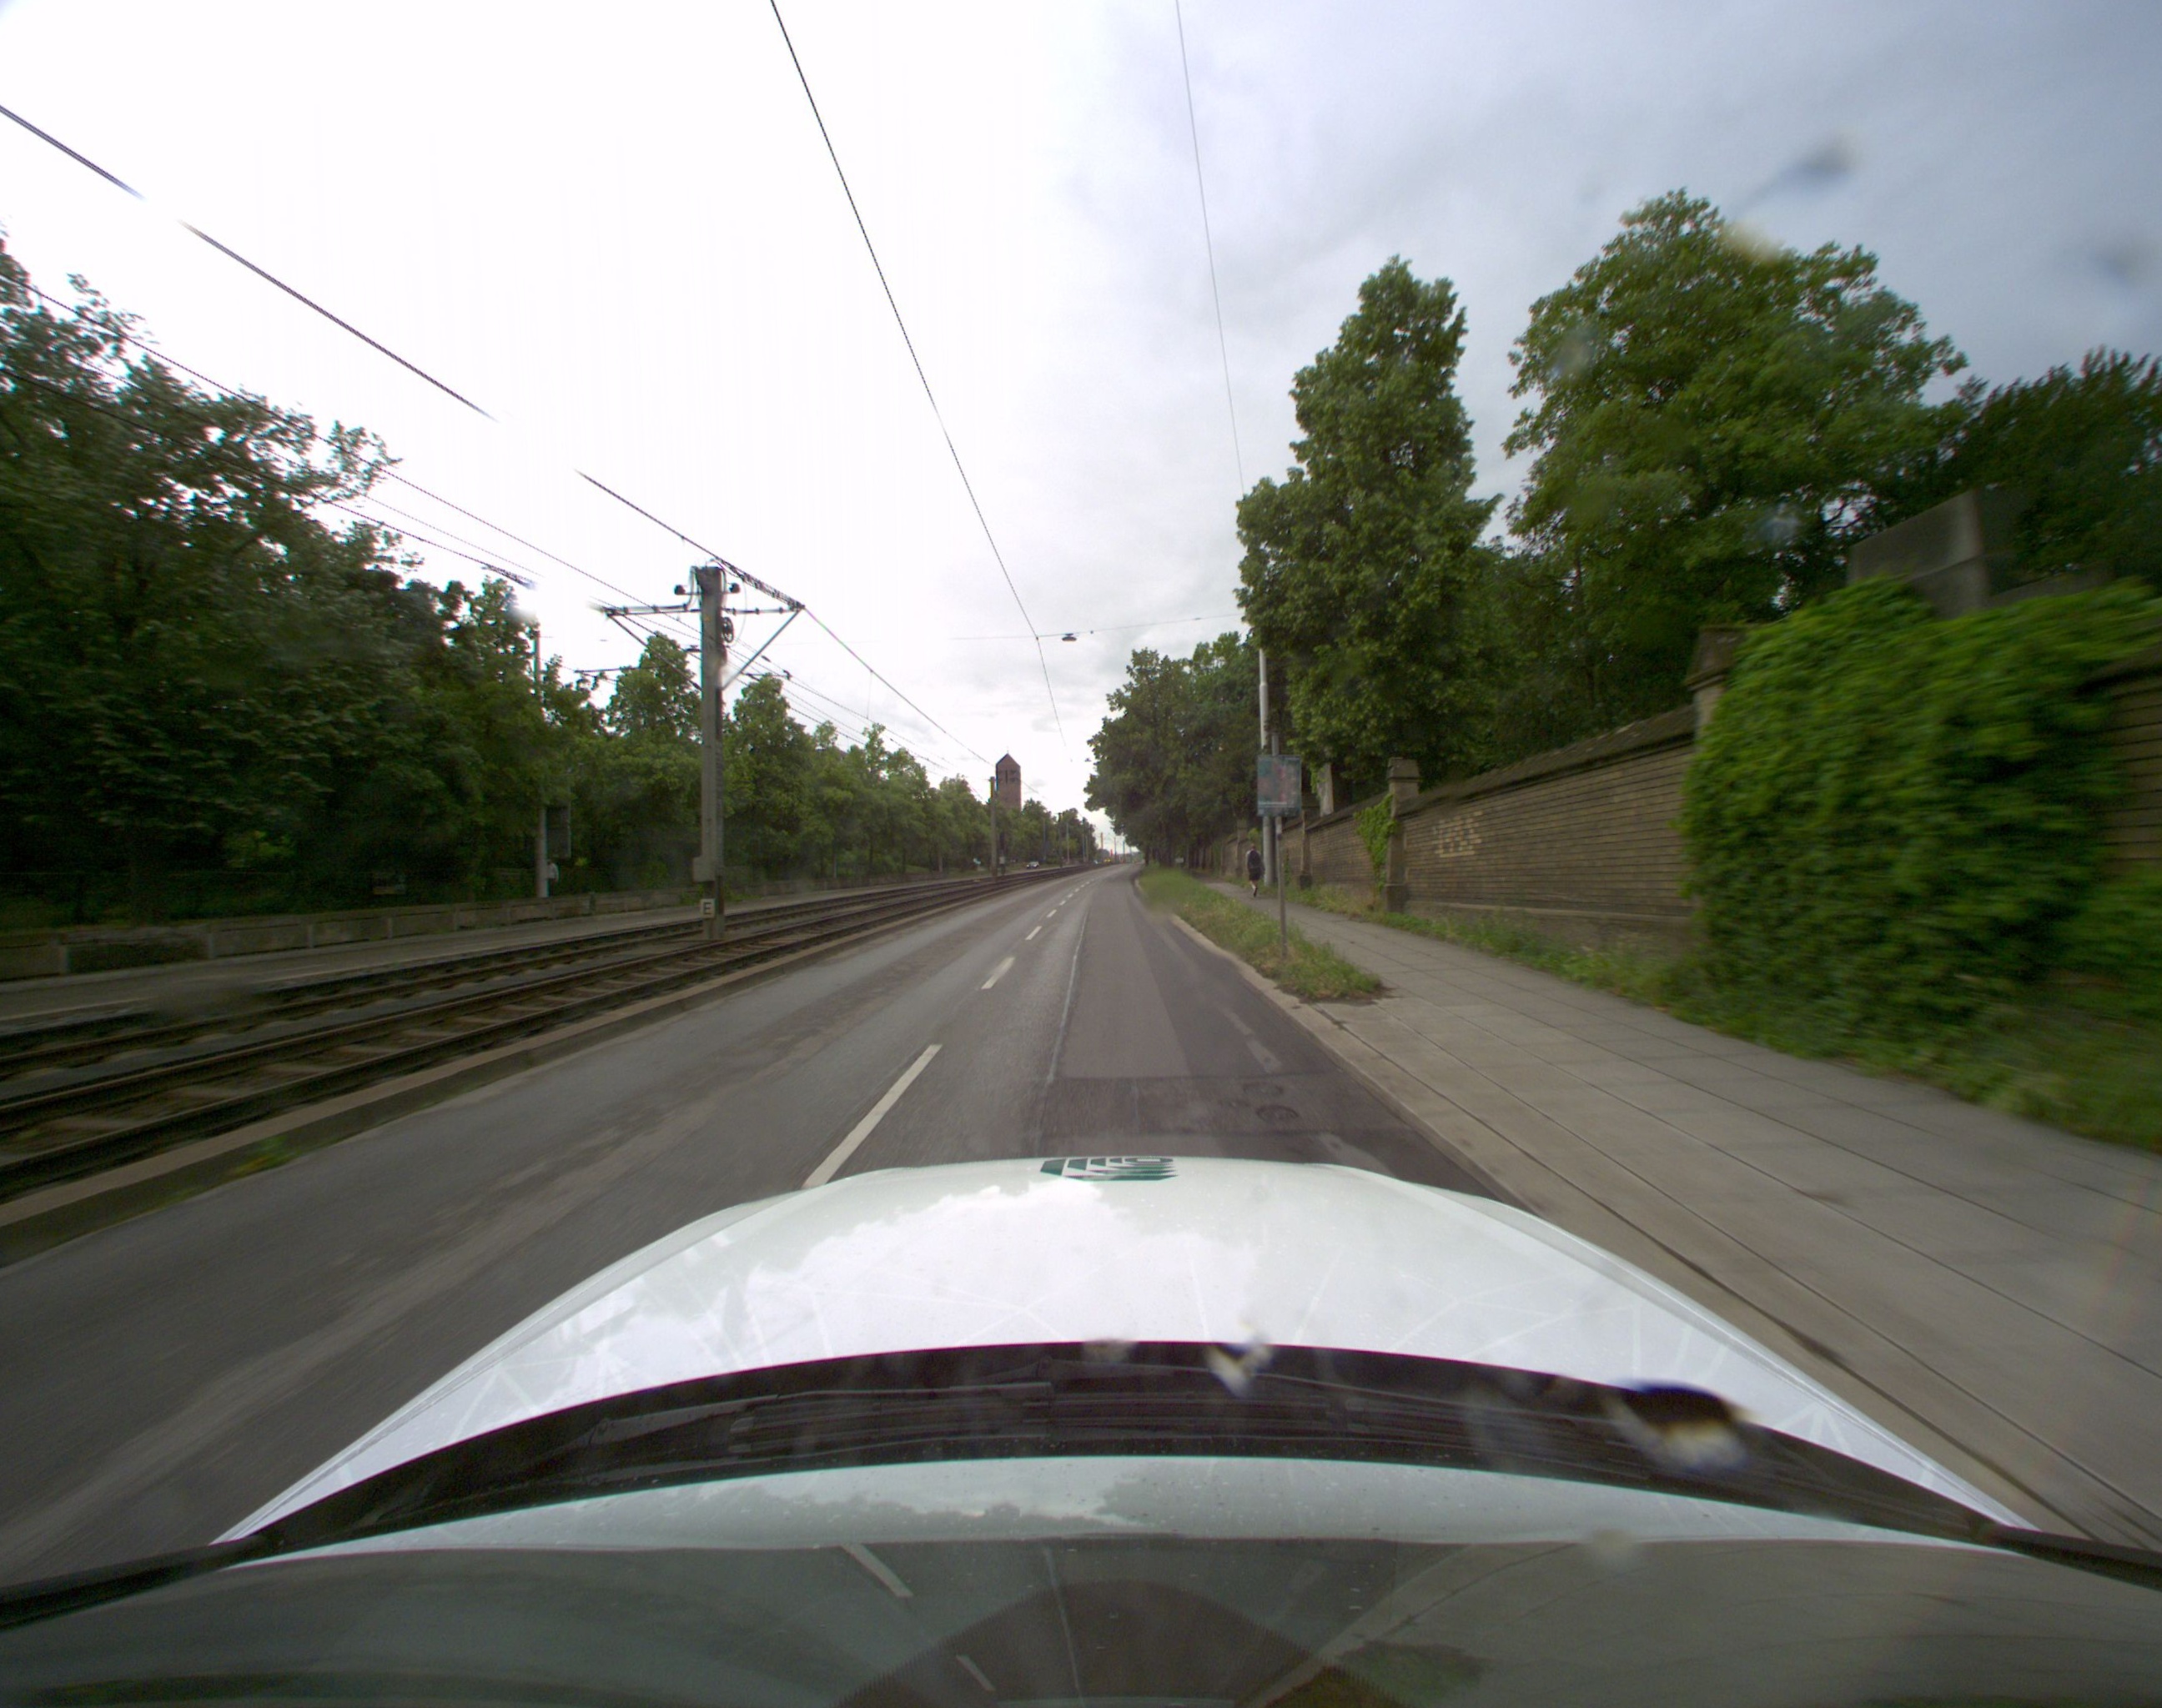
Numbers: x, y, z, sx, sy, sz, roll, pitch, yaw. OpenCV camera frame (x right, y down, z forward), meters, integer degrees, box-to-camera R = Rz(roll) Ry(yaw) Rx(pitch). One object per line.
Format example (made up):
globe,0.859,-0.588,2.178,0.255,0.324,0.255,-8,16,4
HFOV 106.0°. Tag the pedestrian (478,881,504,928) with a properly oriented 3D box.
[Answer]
pedestrian,-24.281,2.083,33.530,0.593,1.903,0.654,0,-1,1

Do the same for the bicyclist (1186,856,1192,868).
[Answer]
bicyclist,11.973,0.873,90.150,0.532,1.389,0.668,-2,-1,7

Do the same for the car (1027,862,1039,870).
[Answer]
car,-9.195,2.261,156.547,1.787,1.530,4.626,-2,0,3

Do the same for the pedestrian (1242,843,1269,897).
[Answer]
pedestrian,5.847,0.530,27.348,0.705,1.779,0.901,-1,0,1

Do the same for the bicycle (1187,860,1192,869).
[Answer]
bicycle,12.033,1.124,90.489,0.539,0.948,2.555,-2,-1,8
